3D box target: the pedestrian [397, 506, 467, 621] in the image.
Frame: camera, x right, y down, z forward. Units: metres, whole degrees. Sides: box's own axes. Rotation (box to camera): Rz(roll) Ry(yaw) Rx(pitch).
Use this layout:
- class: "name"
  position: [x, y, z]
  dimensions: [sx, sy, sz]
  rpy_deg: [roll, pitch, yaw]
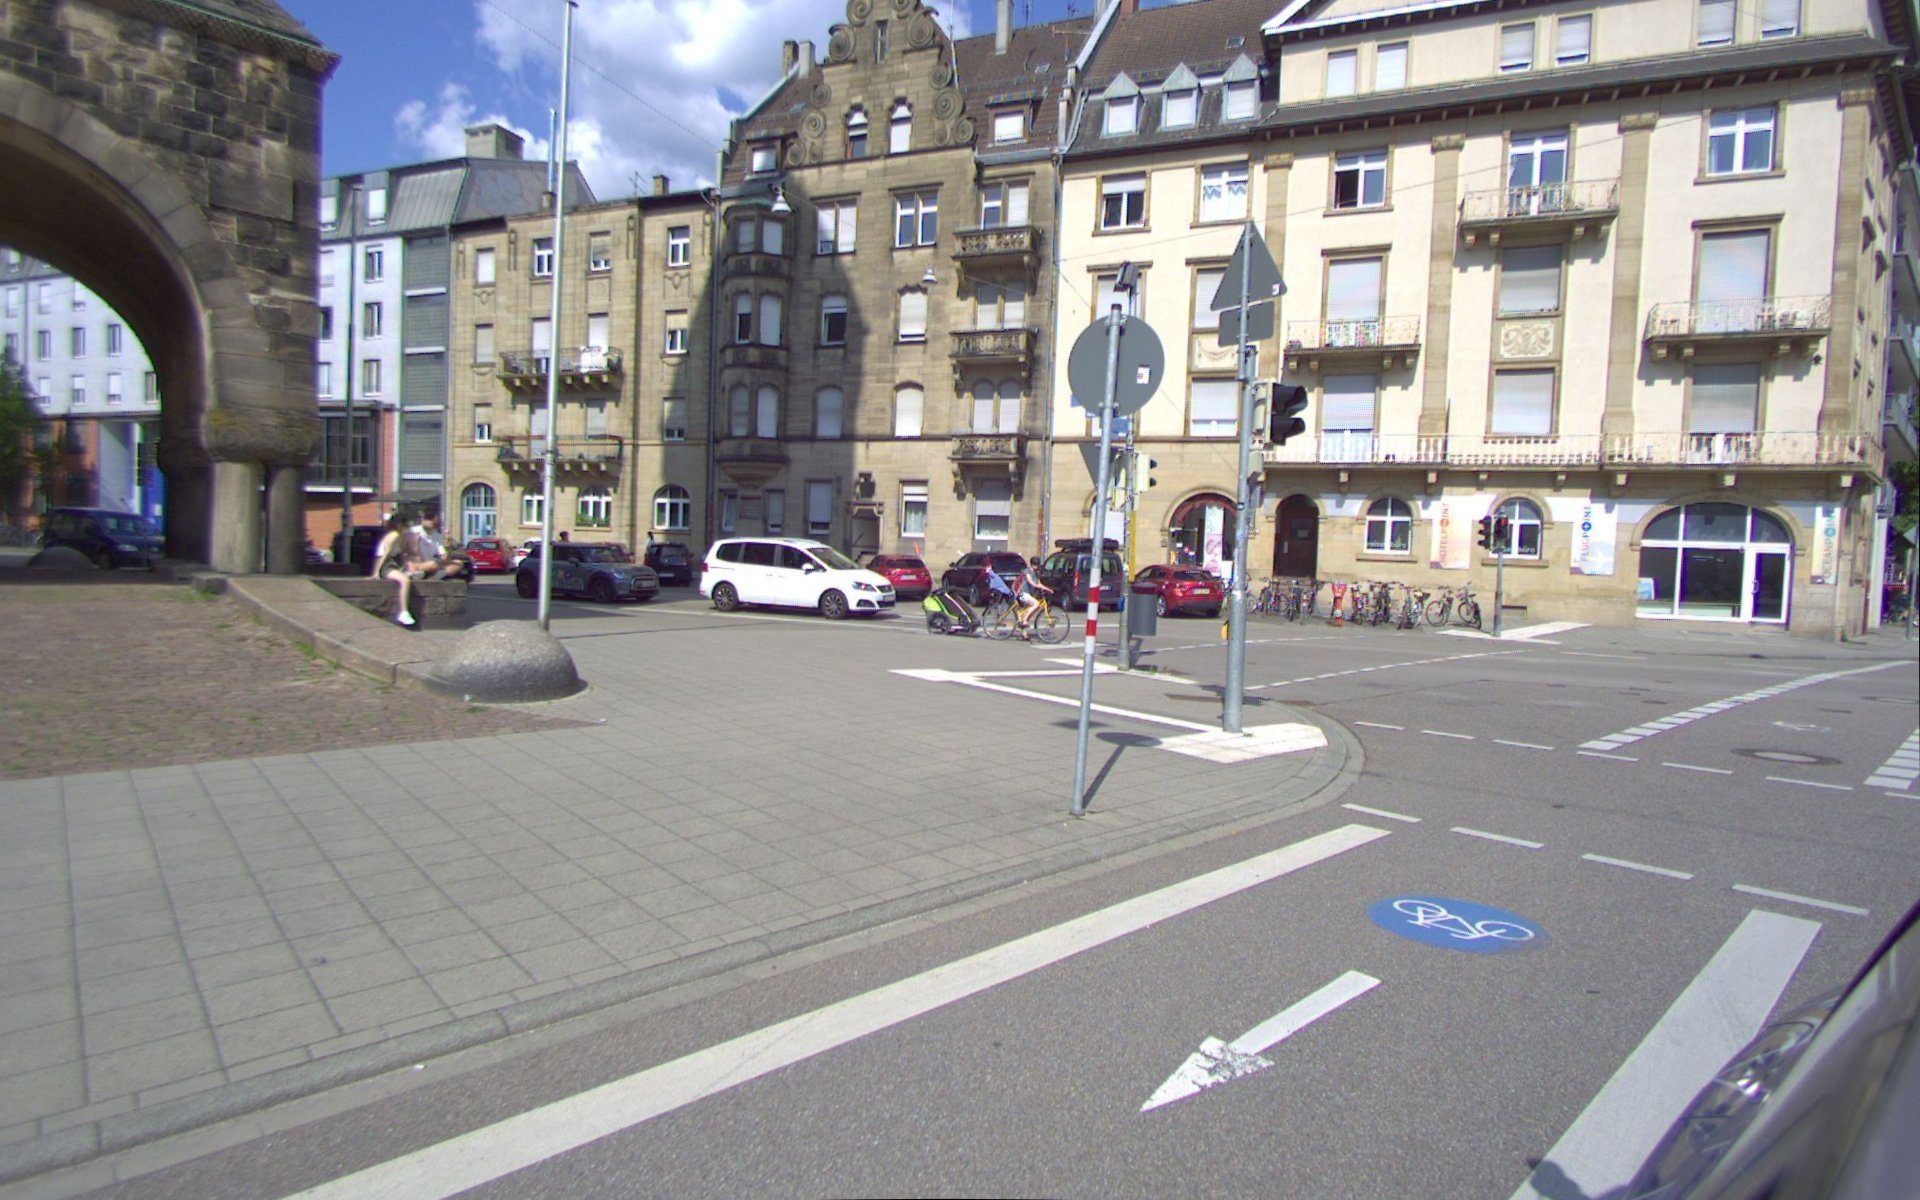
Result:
- class: "pedestrian"
  position: [-6.959, -0.491, 13.357]
  dimensions: [0.508, 1.422, 0.559]
  rpy_deg: [8, 4, 0]

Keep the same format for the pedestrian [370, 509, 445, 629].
- class: "pedestrian"
  position: [-6.972, -0.402, 12.792]
  dimensions: [0.508, 1.422, 0.559]
  rpy_deg: [8, 4, 0]

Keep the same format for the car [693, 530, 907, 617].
- class: "car"
  position: [-3.705, -0.655, 23.450]
  dimensions: [4.609, 1.761, 1.802]
  rpy_deg: [3, 2, 22]

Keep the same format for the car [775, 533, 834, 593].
- class: "car"
  position: [-5.324, -1.325, 34.751]
  dimensions: [1.877, 1.846, 4.010]
  rpy_deg: [1, 5, -9]

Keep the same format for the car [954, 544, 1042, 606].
- class: "car"
  position: [1.128, -0.838, 32.069]
  dimensions: [1.675, 1.688, 4.012]
  rpy_deg: [0, 5, -14]

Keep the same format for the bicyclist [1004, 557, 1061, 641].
- class: "bicyclist"
  position: [1.381, -0.030, 19.176]
  dimensions: [0.910, 1.522, 0.649]
  rpy_deg: [3, 2, 18]

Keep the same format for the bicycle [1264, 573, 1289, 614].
- class: "bicycle"
  position: [9.266, -0.212, 29.578]
  dimensions: [0.534, 1.030, 1.917]
  rpy_deg: [3, 5, 21]

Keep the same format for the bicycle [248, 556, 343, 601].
- class: "bicycle"
  position: [-11.603, -0.373, 17.708]
  dimensions: [0.338, 0.750, 1.344]
  rpy_deg: [4, 3, 45]

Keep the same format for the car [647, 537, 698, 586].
- class: "car"
  position: [-10.468, -1.435, 37.014]
  dimensions: [1.675, 1.564, 4.012]
  rpy_deg: [0, 5, -14]

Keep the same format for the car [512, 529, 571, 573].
- class: "car"
  position: [-16.057, -1.906, 38.994]
  dimensions: [1.572, 1.517, 3.787]
  rpy_deg: [0, 5, -14]

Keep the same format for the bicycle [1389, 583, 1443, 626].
- class: "bicycle"
  position: [12.224, 0.091, 27.123]
  dimensions: [1.845, 1.030, 0.601]
  rpy_deg: [-3, 6, -42]

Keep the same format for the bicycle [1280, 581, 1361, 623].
- class: "bicycle"
  position: [9.566, 0.048, 26.893]
  dimensions: [1.895, 1.030, 0.540]
  rpy_deg: [1, 4, 6]

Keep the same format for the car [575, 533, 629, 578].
- class: "car"
  position: [-13.391, -1.711, 38.012]
  dimensions: [1.572, 1.473, 3.787]
  rpy_deg: [0, 5, -14]

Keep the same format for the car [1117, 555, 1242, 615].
- class: "car"
  position: [6.333, -0.498, 29.673]
  dimensions: [1.927, 1.458, 4.012]
  rpy_deg: [0, 5, -14]

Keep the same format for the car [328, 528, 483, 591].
- class: "car"
  position: [-15.755, -1.165, 28.777]
  dimensions: [4.024, 1.616, 1.691]
  rpy_deg: [3, 2, 22]

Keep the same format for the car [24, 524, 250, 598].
- class: "car"
  position: [-20.406, -0.975, 25.275]
  dimensions: [3.889, 1.672, 2.037]
  rpy_deg: [1, 2, -11]

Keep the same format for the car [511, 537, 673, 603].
- class: "car"
  position: [-9.349, -0.789, 25.705]
  dimensions: [3.692, 1.468, 1.663]
  rpy_deg: [3, 2, 22]

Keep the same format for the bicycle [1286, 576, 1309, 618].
- class: "bicycle"
  position: [9.512, -0.106, 28.522]
  dimensions: [0.533, 1.030, 1.919]
  rpy_deg: [2, 5, 17]

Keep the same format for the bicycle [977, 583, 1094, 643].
- class: "bicycle"
  position: [1.427, 0.223, 19.153]
  dimensions: [2.106, 1.001, 0.648]
  rpy_deg: [3, 2, 18]

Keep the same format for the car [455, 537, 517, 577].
- class: "car"
  position: [-18.814, -1.734, 40.290]
  dimensions: [1.572, 1.413, 3.584]
  rpy_deg: [0, 5, -14]

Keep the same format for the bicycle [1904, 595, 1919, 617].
- class: "bicycle"
  position: [45.622, 0.332, 47.635]
  dimensions: [1.690, 0.998, 0.489]
  rpy_deg: [4, 3, 45]

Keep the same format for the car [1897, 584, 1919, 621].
- class: "car"
  position: [50.429, 0.144, 52.856]
  dimensions: [3.934, 1.810, 1.850]
  rpy_deg: [-1, 6, -44]

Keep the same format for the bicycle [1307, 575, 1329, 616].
- class: "bicycle"
  position: [10.420, -0.158, 29.427]
  dimensions: [0.534, 1.030, 1.917]
  rpy_deg: [3, 5, 21]

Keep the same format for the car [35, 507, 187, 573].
- class: "car"
  position: [-24.930, -1.781, 29.709]
  dimensions: [4.027, 1.684, 1.802]
  rpy_deg: [4, 4, 23]

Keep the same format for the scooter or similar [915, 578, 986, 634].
- class: "scooter or similar"
  position: [-0.173, 0.098, 19.502]
  dimensions: [1.116, 0.989, 0.886]
  rpy_deg: [3, 2, 18]

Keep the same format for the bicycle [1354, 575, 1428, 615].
- class: "bicycle"
  position: [12.417, -0.148, 29.183]
  dimensions: [1.909, 1.030, 0.536]
  rpy_deg: [3, 5, 26]

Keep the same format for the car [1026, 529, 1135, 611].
- class: "car"
  position: [3.602, -0.992, 31.120]
  dimensions: [1.927, 2.105, 4.015]
  rpy_deg: [0, 7, -14]

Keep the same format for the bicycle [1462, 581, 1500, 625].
- class: "bicycle"
  position: [14.235, 0.057, 27.674]
  dimensions: [0.602, 1.030, 1.867]
  rpy_deg: [3, 5, 18]

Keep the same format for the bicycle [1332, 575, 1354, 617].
- class: "bicycle"
  position: [11.061, -0.133, 29.190]
  dimensions: [0.534, 1.030, 1.917]
  rpy_deg: [3, 5, 21]

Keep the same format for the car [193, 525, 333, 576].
- class: "car"
  position: [-21.235, -1.516, 30.848]
  dimensions: [3.816, 1.407, 1.691]
  rpy_deg: [3, 2, 22]

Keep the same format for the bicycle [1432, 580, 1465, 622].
- class: "bicycle"
  position: [13.546, 0.008, 28.040]
  dimensions: [0.605, 1.030, 1.858]
  rpy_deg: [4, 5, 30]

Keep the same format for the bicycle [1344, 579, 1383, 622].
- class: "bicycle"
  position: [11.111, -0.004, 27.834]
  dimensions: [0.537, 1.030, 1.905]
  rpy_deg: [4, 6, 35]

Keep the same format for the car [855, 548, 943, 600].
- class: "car"
  position: [-2.093, -0.906, 33.483]
  dimensions: [1.876, 1.461, 4.012]
  rpy_deg: [0, 5, -19]

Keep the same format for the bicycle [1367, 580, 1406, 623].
- class: "bicycle"
  position: [11.689, 0.027, 27.694]
  dimensions: [0.537, 1.030, 1.905]
  rpy_deg: [4, 5, 35]
